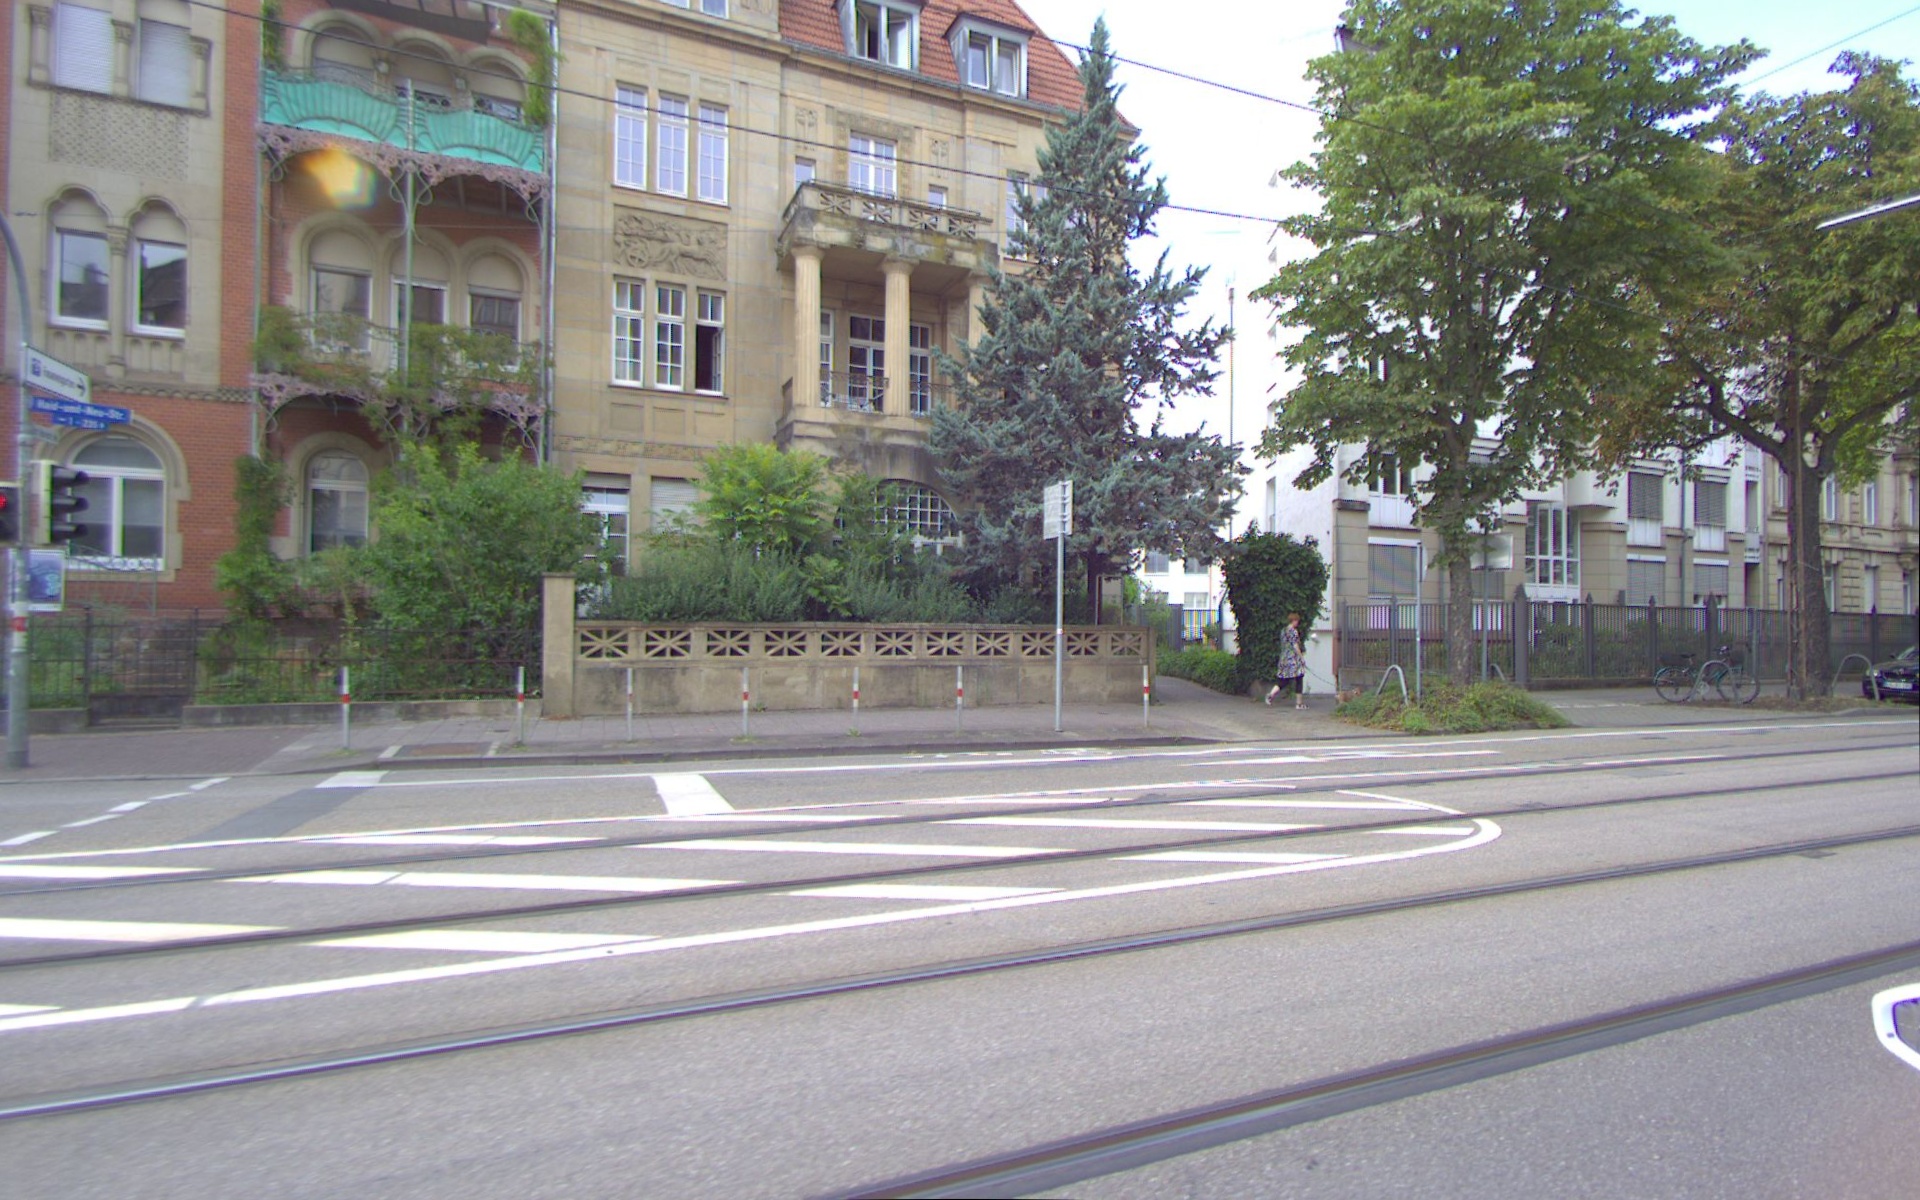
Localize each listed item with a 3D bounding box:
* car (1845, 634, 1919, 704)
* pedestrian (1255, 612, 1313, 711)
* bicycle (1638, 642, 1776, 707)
[{"bbox_3d":[22.589,1.581,23.101,4.106,1.444,1.716,2,1,-23],"label":"car"},{"bbox_3d":[5.912,1.100,18.315,0.692,1.758,0.702,1,0,-29],"label":"pedestrian"},{"bbox_3d":[15.289,1.506,20.643,2.198,1.191,0.833,1,-1,34],"label":"bicycle"}]
